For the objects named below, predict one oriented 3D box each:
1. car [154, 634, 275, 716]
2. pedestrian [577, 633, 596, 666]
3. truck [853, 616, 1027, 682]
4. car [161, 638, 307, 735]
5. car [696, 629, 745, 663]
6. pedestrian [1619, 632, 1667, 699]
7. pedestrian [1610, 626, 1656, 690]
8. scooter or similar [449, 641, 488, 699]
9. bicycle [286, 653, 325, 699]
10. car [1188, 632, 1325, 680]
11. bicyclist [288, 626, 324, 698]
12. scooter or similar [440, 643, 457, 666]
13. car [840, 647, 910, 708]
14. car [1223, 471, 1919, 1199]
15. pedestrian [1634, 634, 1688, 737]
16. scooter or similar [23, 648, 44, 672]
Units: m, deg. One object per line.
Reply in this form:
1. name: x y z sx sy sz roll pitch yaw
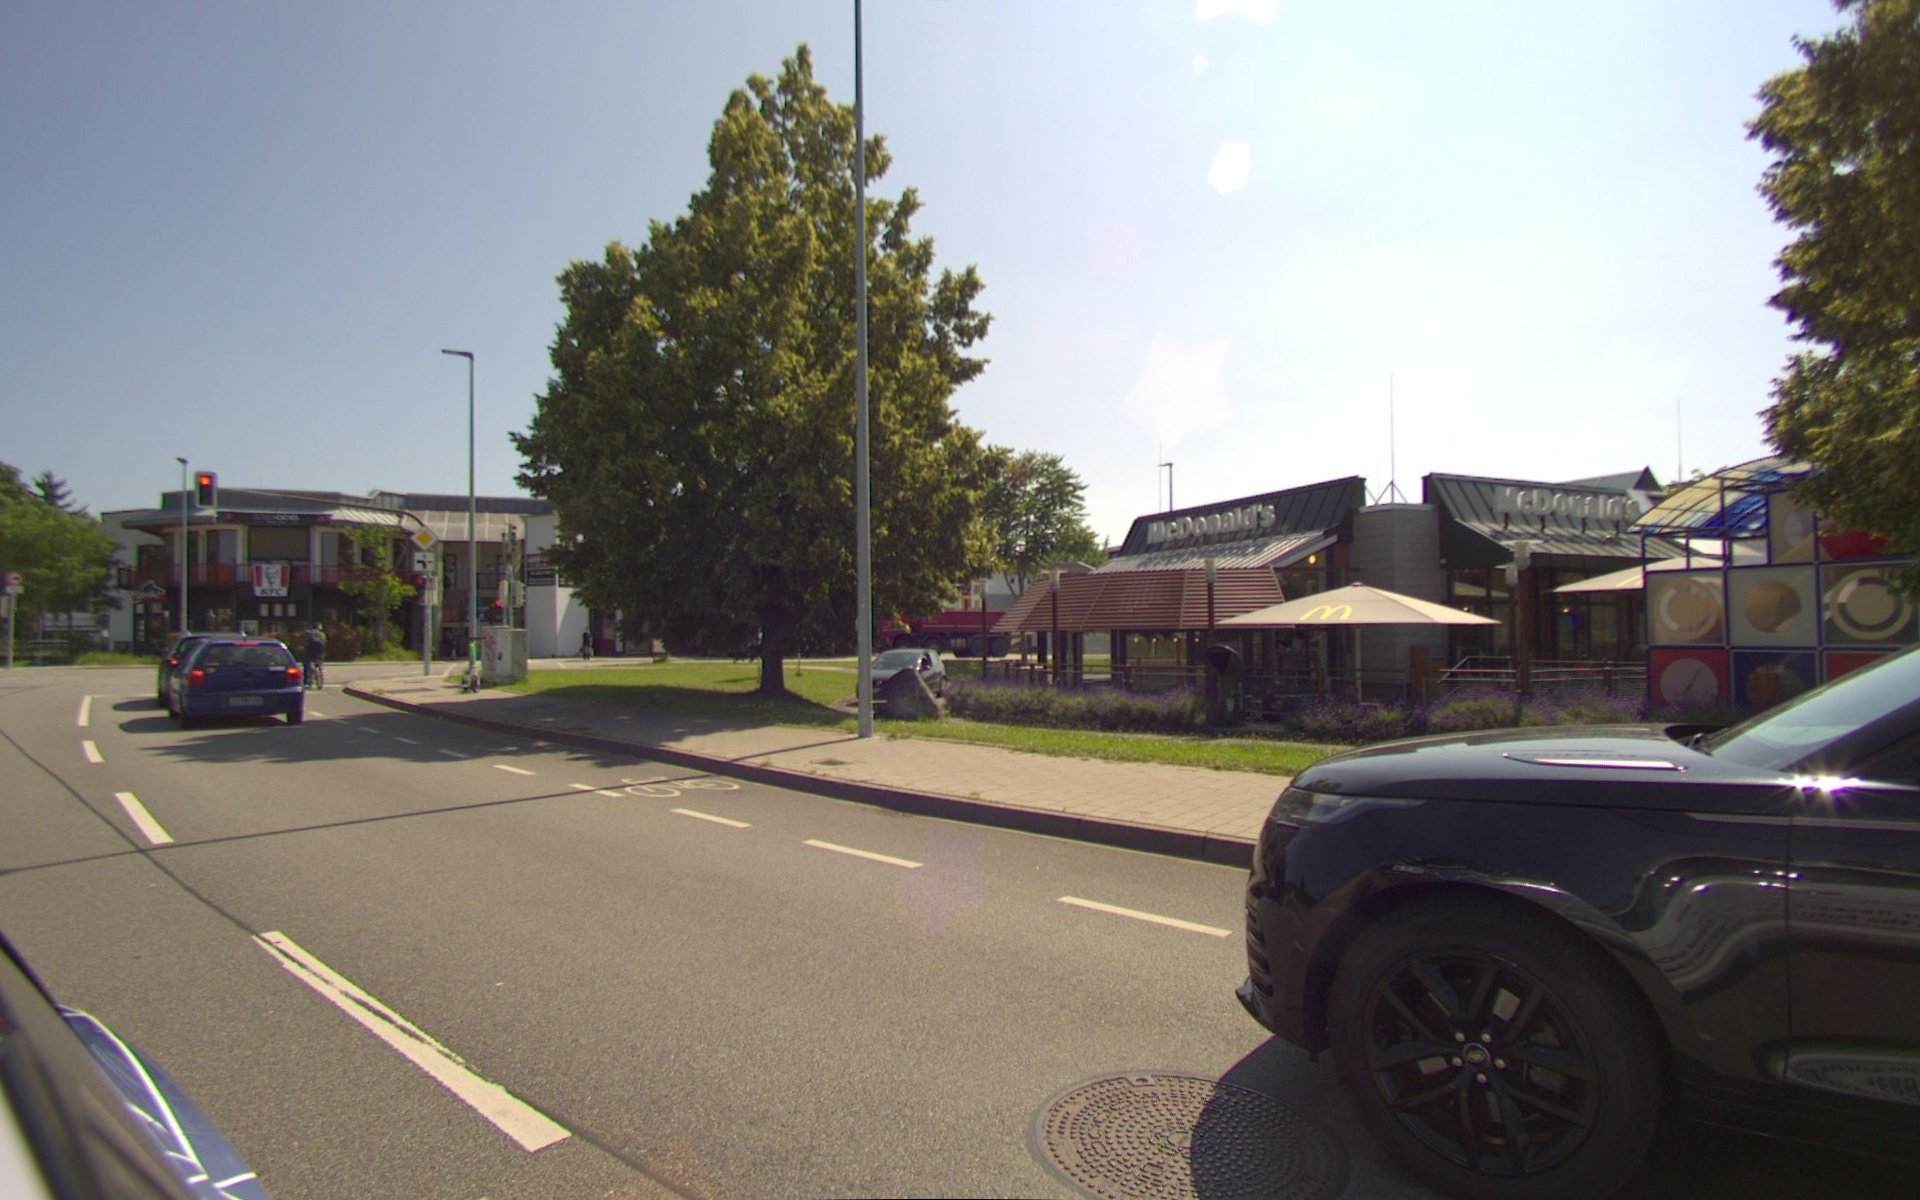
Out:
1. car: -15.585 1.489 21.062 1.757 1.508 4.730 2 -3 -39
2. pedestrian: -19.153 2.540 51.921 0.722 1.658 0.843 0 -3 -5
3. truck: -1.116 2.646 56.083 9.009 3.412 3.325 0 -3 -24
4. car: -12.053 1.344 16.706 1.635 1.391 4.006 2 -3 -40
5. car: -13.734 2.619 57.915 1.777 1.870 4.674 1 -3 -25
6. pedestrian: 15.602 1.482 23.123 0.753 1.485 0.823 -3 -3 42
7. pedestrian: 15.974 1.372 24.013 0.753 1.485 0.823 -3 -3 42
8. scooter or similar: -10.545 1.485 21.688 0.465 1.193 1.368 2 -3 -38
9. bicycle: -16.748 1.926 25.895 0.688 1.113 1.759 3 -4 -36
10. car: 10.251 1.927 35.180 1.838 1.564 4.191 2 -3 -44
11. bicyclist: -16.714 1.579 25.872 0.701 1.802 0.811 1 -3 -36
12. scooter or similar: -26.157 2.771 51.772 0.492 1.132 1.508 0 -3 -17
13. car: -2.416 2.127 28.748 1.837 1.564 4.192 0 -2 -5
14. car: 3.131 0.604 2.128 4.607 1.708 1.931 -2 -3 39
15. pedestrian: 14.276 1.714 20.613 0.753 2.029 0.823 -3 -3 42
16. scooter or similar: -44.436 2.866 48.556 0.420 1.132 1.456 1 -3 -31
